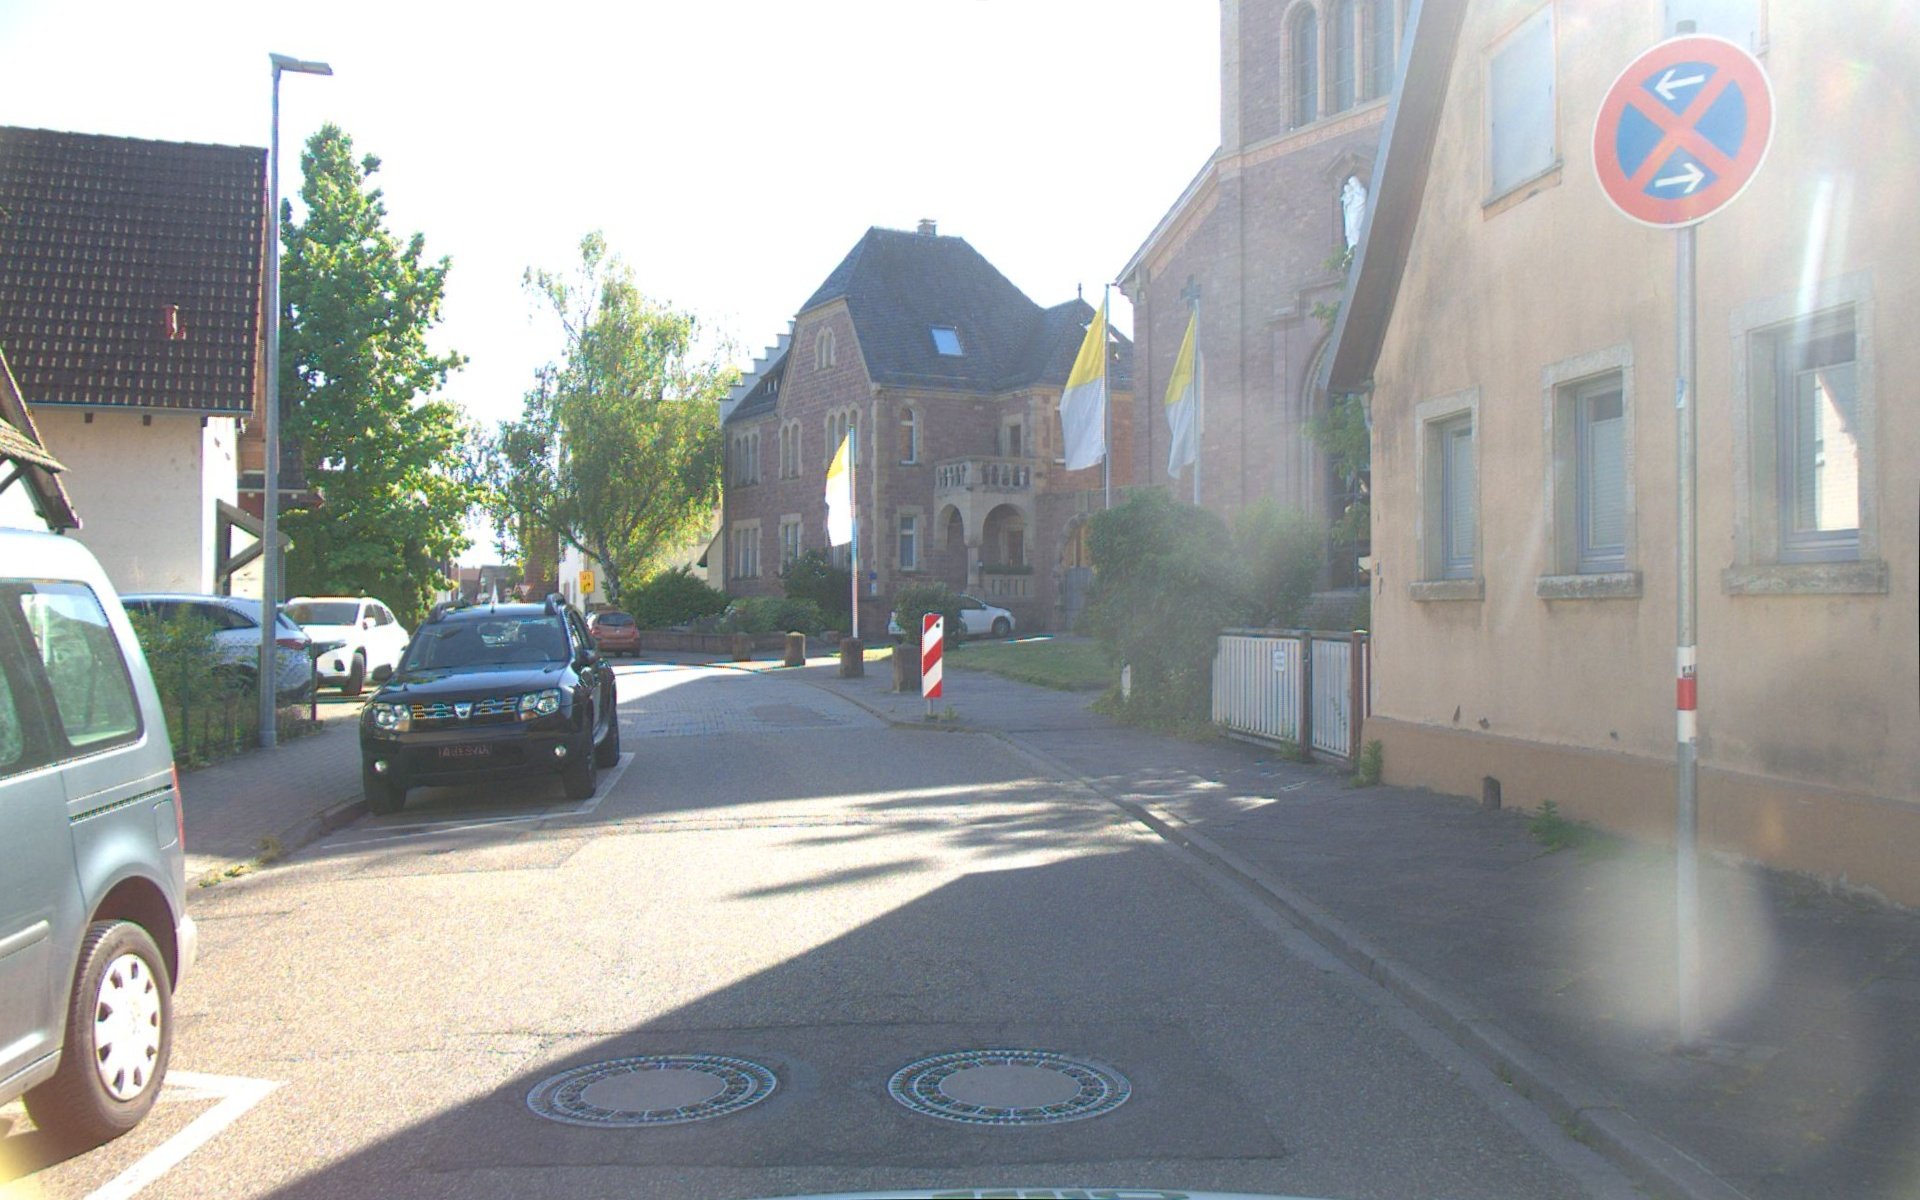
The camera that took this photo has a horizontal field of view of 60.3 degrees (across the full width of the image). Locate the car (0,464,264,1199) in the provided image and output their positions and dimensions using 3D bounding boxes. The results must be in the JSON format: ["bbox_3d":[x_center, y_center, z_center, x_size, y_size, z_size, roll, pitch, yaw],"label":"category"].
[{"bbox_3d":[-3.260,0.617,3.448,1.795,1.821,4.351,-3,0,-2],"label":"car"}]

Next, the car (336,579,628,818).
[{"bbox_3d":[-4.039,0.757,14.661,1.798,1.700,4.344,-3,0,-8],"label":"car"}]

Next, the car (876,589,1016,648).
[{"bbox_3d":[-0.423,0.564,50.787,3.861,1.522,1.884,-4,-1,-32],"label":"car"}]

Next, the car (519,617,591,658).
[{"bbox_3d":[-15.128,1.392,61.630,1.785,1.461,4.250,1,-1,-26],"label":"car"}]

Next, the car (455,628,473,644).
[{"bbox_3d":[-46.906,3.439,156.332,1.562,1.468,3.598,1,-2,-16],"label":"car"}]

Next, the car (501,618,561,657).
[{"bbox_3d":[-17.130,1.476,65.875,1.782,1.461,4.257,1,-1,-22],"label":"car"}]

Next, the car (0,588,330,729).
[{"bbox_3d":[-9.981,0.716,20.594,3.932,1.617,1.986,2,-1,-23],"label":"car"}]

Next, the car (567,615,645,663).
[{"bbox_3d":[-11.597,1.260,54.019,1.628,1.505,3.900,1,-1,-26],"label":"car"}]

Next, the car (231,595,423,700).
[{"bbox_3d":[-10.601,0.778,28.042,1.781,1.624,4.441,1,-1,-4],"label":"car"}]
